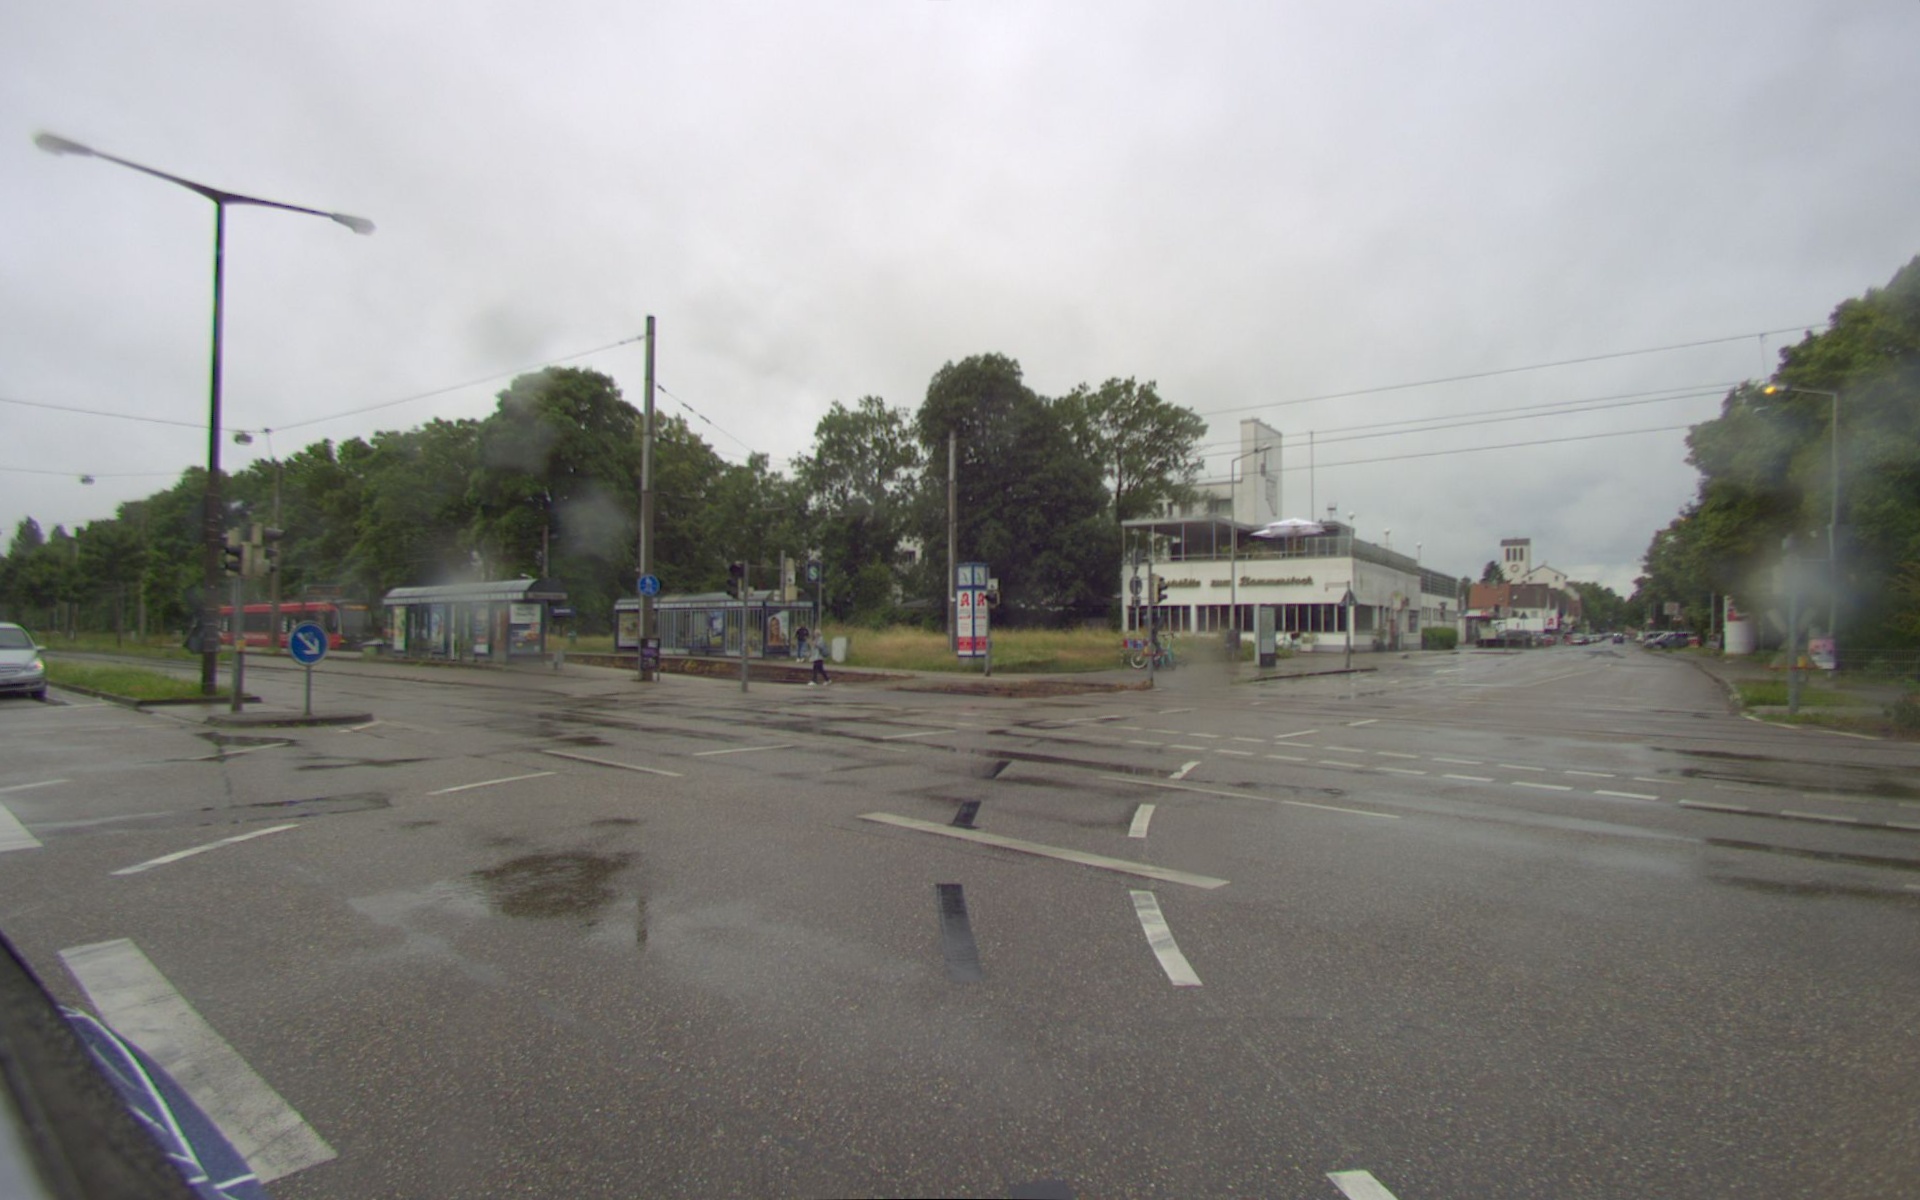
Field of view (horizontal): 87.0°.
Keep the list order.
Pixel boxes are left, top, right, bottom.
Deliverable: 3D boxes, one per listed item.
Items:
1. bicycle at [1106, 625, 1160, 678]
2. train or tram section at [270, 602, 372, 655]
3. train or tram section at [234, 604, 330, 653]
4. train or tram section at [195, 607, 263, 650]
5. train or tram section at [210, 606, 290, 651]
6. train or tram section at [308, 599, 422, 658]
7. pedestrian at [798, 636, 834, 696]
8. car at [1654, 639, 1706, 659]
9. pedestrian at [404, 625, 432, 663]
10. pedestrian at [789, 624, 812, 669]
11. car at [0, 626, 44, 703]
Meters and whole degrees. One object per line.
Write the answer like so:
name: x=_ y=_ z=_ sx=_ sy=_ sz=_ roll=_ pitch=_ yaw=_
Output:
bicycle: x=5.881 y=1.742 z=34.490 sx=1.734 sy=1.774 sz=0.633 roll=-2 pitch=-3 yaw=43
train or tram section: x=-43.546 y=1.945 z=68.844 sx=9.276 sy=3.416 sz=3.495 roll=-2 pitch=-3 yaw=42
train or tram section: x=-50.319 y=2.115 z=74.996 sx=10.258 sy=3.427 sz=3.495 roll=-2 pitch=-3 yaw=42
train or tram section: x=-61.532 y=2.422 z=85.187 sx=5.768 sy=3.444 sz=3.495 roll=-2 pitch=-3 yaw=42
train or tram section: x=-56.785 y=2.289 z=80.883 sx=7.901 sy=3.438 sz=3.495 roll=-2 pitch=-3 yaw=42
train or tram section: x=-37.185 y=1.786 z=63.095 sx=9.276 sy=3.415 sz=3.495 roll=-2 pitch=-3 yaw=42
pedestrian: x=-4.149 y=1.880 z=29.144 sx=0.790 sy=1.670 sz=0.785 roll=-1 pitch=0 yaw=-27
car: x=69.056 y=4.684 z=97.133 sx=3.991 sy=1.717 sz=1.853 roll=-1 pitch=0 yaw=35
pedestrian: x=-22.874 y=1.853 z=42.732 sx=0.929 sy=1.609 sz=0.795 roll=-2 pitch=-2 yaw=44
pedestrian: x=-6.585 y=1.900 z=41.700 sx=0.680 sy=1.806 sz=0.623 roll=-1 pitch=0 yaw=41
car: x=-21.162 y=1.384 z=21.790 sx=4.011 sy=1.556 sz=1.718 roll=-2 pitch=-2 yaw=42
